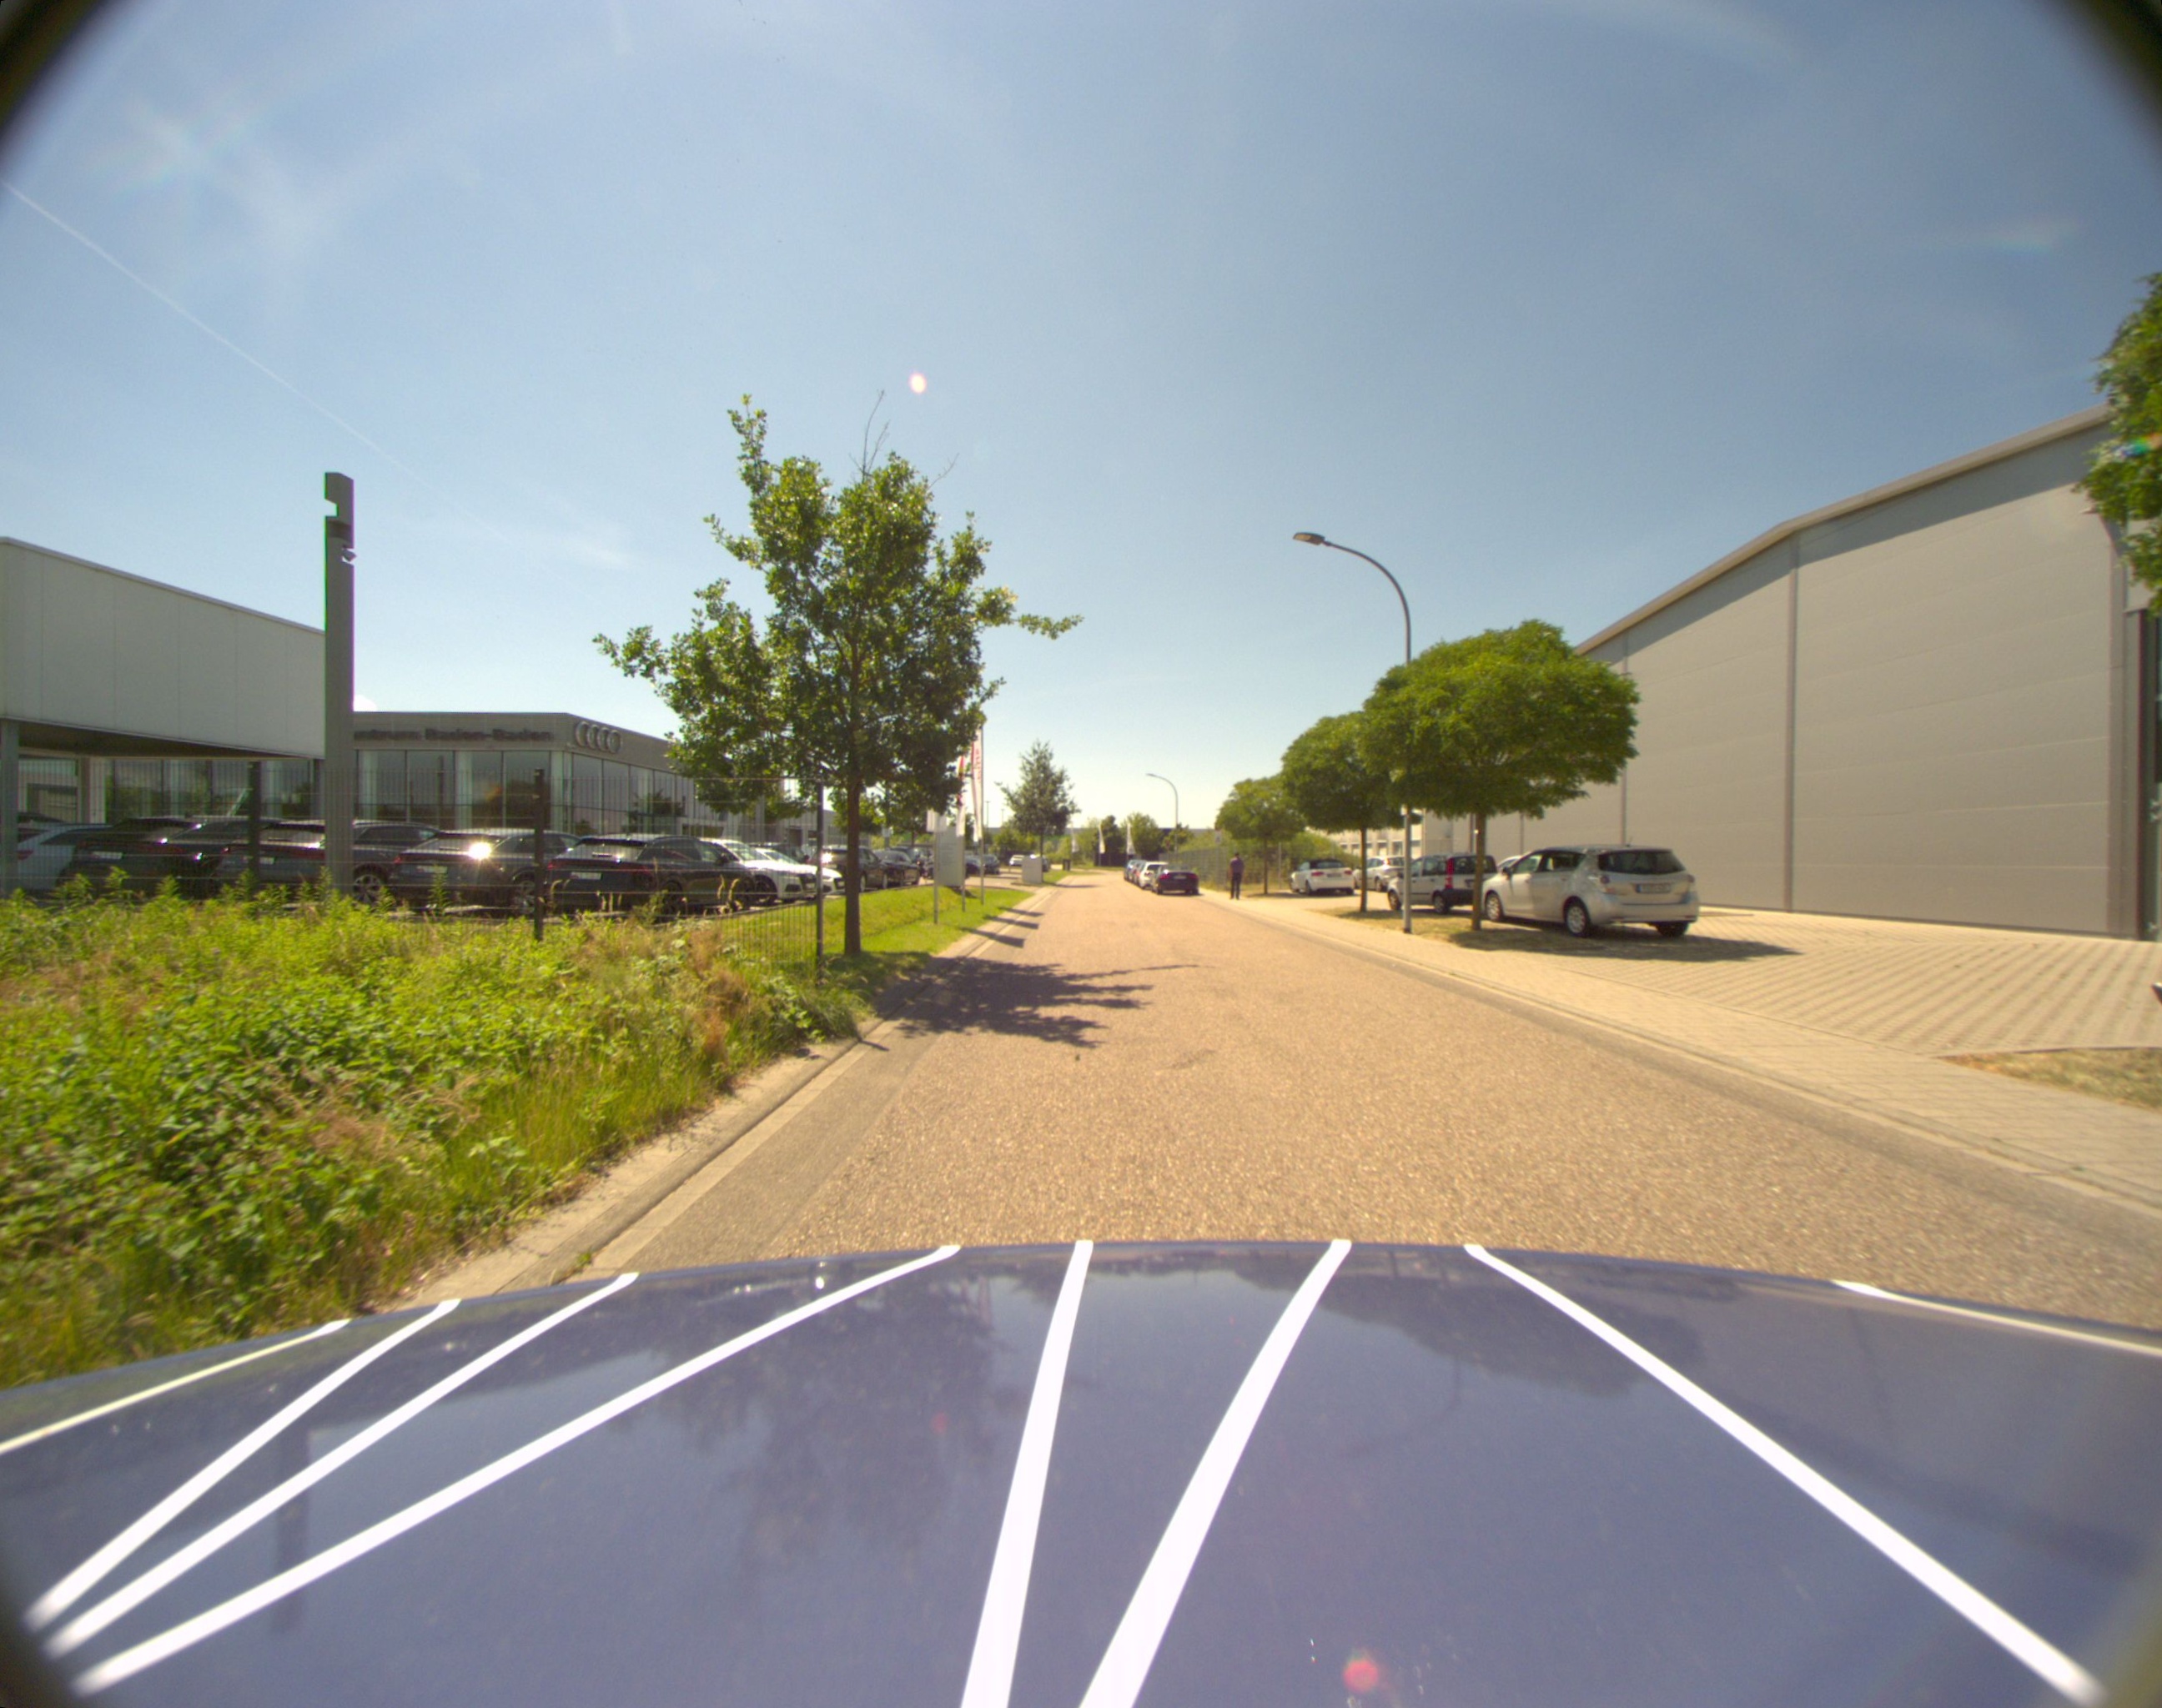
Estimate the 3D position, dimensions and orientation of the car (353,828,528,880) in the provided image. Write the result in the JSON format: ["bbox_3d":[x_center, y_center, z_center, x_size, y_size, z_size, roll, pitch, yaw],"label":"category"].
[{"bbox_3d":[-21.978,0.005,26.405,2.030,1.580,4.779,2,0,0],"label":"car"}]

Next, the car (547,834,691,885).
[{"bbox_3d":[-15.961,0.184,26.621,2.030,1.580,4.779,2,0,1],"label":"car"}]

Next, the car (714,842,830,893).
[{"bbox_3d":[-10.711,0.445,26.778,2.030,1.580,4.779,2,0,1],"label":"car"}]

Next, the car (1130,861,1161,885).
[{"bbox_3d":[4.316,1.274,51.323,1.829,1.491,4.520,1,0,1],"label":"car"}]

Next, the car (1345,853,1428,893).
[{"bbox_3d":[12.494,0.742,31.384,1.828,1.491,4.260,-2,0,3],"label":"car"}]

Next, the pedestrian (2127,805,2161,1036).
[{"bbox_3d":[9.649,0.559,6.360,0.840,1.961,0.967,-1,0,41],"label":"pedestrian"}]

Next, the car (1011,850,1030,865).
[{"bbox_3d":[-6.918,0.390,87.222,1.824,1.519,4.945,2,0,0],"label":"car"}]

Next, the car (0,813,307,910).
[{"bbox_3d":[-19.251,0.109,15.417,2.029,1.644,4.810,2,0,2],"label":"car"}]

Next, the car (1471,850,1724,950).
[{"bbox_3d":[9.406,0.749,14.391,1.770,1.564,4.540,-1,0,1],"label":"car"}]

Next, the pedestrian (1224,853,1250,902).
[{"bbox_3d":[5.845,0.866,28.503,0.746,1.791,1.135,-2,0,3],"label":"pedestrian"}]

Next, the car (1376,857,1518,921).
[{"bbox_3d":[9.265,0.834,19.561,1.687,1.491,3.703,0,0,-4],"label":"car"}]

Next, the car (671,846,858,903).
[{"bbox_3d":[-9.083,0.575,22.088,4.540,1.449,2.031,2,0,0],"label":"car"}]

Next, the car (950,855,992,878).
[{"bbox_3d":[-7.344,0.860,51.205,1.966,1.358,4.722,3,-1,1],"label":"car"}]

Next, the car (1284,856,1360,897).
[{"bbox_3d":[9.619,0.863,30.676,1.828,1.491,4.328,-2,0,3],"label":"car"}]

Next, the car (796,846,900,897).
[{"bbox_3d":[-8.017,0.572,26.635,2.030,1.564,4.779,2,0,1],"label":"car"}]

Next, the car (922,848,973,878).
[{"bbox_3d":[-7.586,0.466,43.737,1.966,1.448,4.984,2,2,1],"label":"car"}]

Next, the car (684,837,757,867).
[{"bbox_3d":[-21.805,-0.156,46.168,1.966,1.612,4.984,2,2,1],"label":"car"}]

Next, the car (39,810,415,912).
[{"bbox_3d":[-16.610,0.132,15.299,2.029,1.669,4.810,2,0,2],"label":"car"}]

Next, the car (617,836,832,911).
[{"bbox_3d":[-9.065,0.469,19.561,4.538,1.683,2.032,2,0,4],"label":"car"}]

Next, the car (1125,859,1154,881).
[{"bbox_3d":[4.363,1.195,57.070,1.829,1.561,4.386,1,0,0],"label":"car"}]

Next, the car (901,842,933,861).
[{"bbox_3d":[-14.796,-0.208,68.752,1.966,1.604,4.288,2,0,0],"label":"car"}]

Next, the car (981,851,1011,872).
[{"bbox_3d":[-6.910,0.617,62.296,1.892,1.562,4.227,3,0,0],"label":"car"}]

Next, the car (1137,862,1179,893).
[{"bbox_3d":[4.025,1.203,40.219,1.829,1.491,4.259,1,0,1],"label":"car"}]

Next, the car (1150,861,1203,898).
[{"bbox_3d":[4.246,1.095,34.377,1.829,1.491,4.526,1,0,1],"label":"car"}]

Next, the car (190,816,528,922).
[{"bbox_3d":[-13.943,0.266,15.216,2.029,1.715,4.810,2,0,2],"label":"car"}]

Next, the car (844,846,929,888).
[{"bbox_3d":[-7.981,0.522,31.735,2.030,1.505,5.240,3,0,1],"label":"car"}]

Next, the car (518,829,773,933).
[{"bbox_3d":[-8.378,0.466,15.356,2.029,1.683,5.109,2,0,2],"label":"car"}]

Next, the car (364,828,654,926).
[{"bbox_3d":[-11.064,0.397,15.284,2.029,1.601,4.810,2,0,2],"label":"car"}]

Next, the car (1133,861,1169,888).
[{"bbox_3d":[4.144,1.181,45.778,1.829,1.491,4.520,1,0,1],"label":"car"}]

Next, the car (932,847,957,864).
[{"bbox_3d":[-14.401,0.157,80.284,1.829,1.684,4.417,3,0,0],"label":"car"}]

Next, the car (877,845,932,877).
[{"bbox_3d":[-10.181,0.367,44.199,1.966,1.589,4.984,2,2,1],"label":"car"}]

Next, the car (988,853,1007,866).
[{"bbox_3d":[-10.825,0.684,98.827,1.966,1.620,4.626,2,0,0],"label":"car"}]

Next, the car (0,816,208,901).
[{"bbox_3d":[-21.788,0.065,15.618,2.029,1.644,4.810,2,0,2],"label":"car"}]
